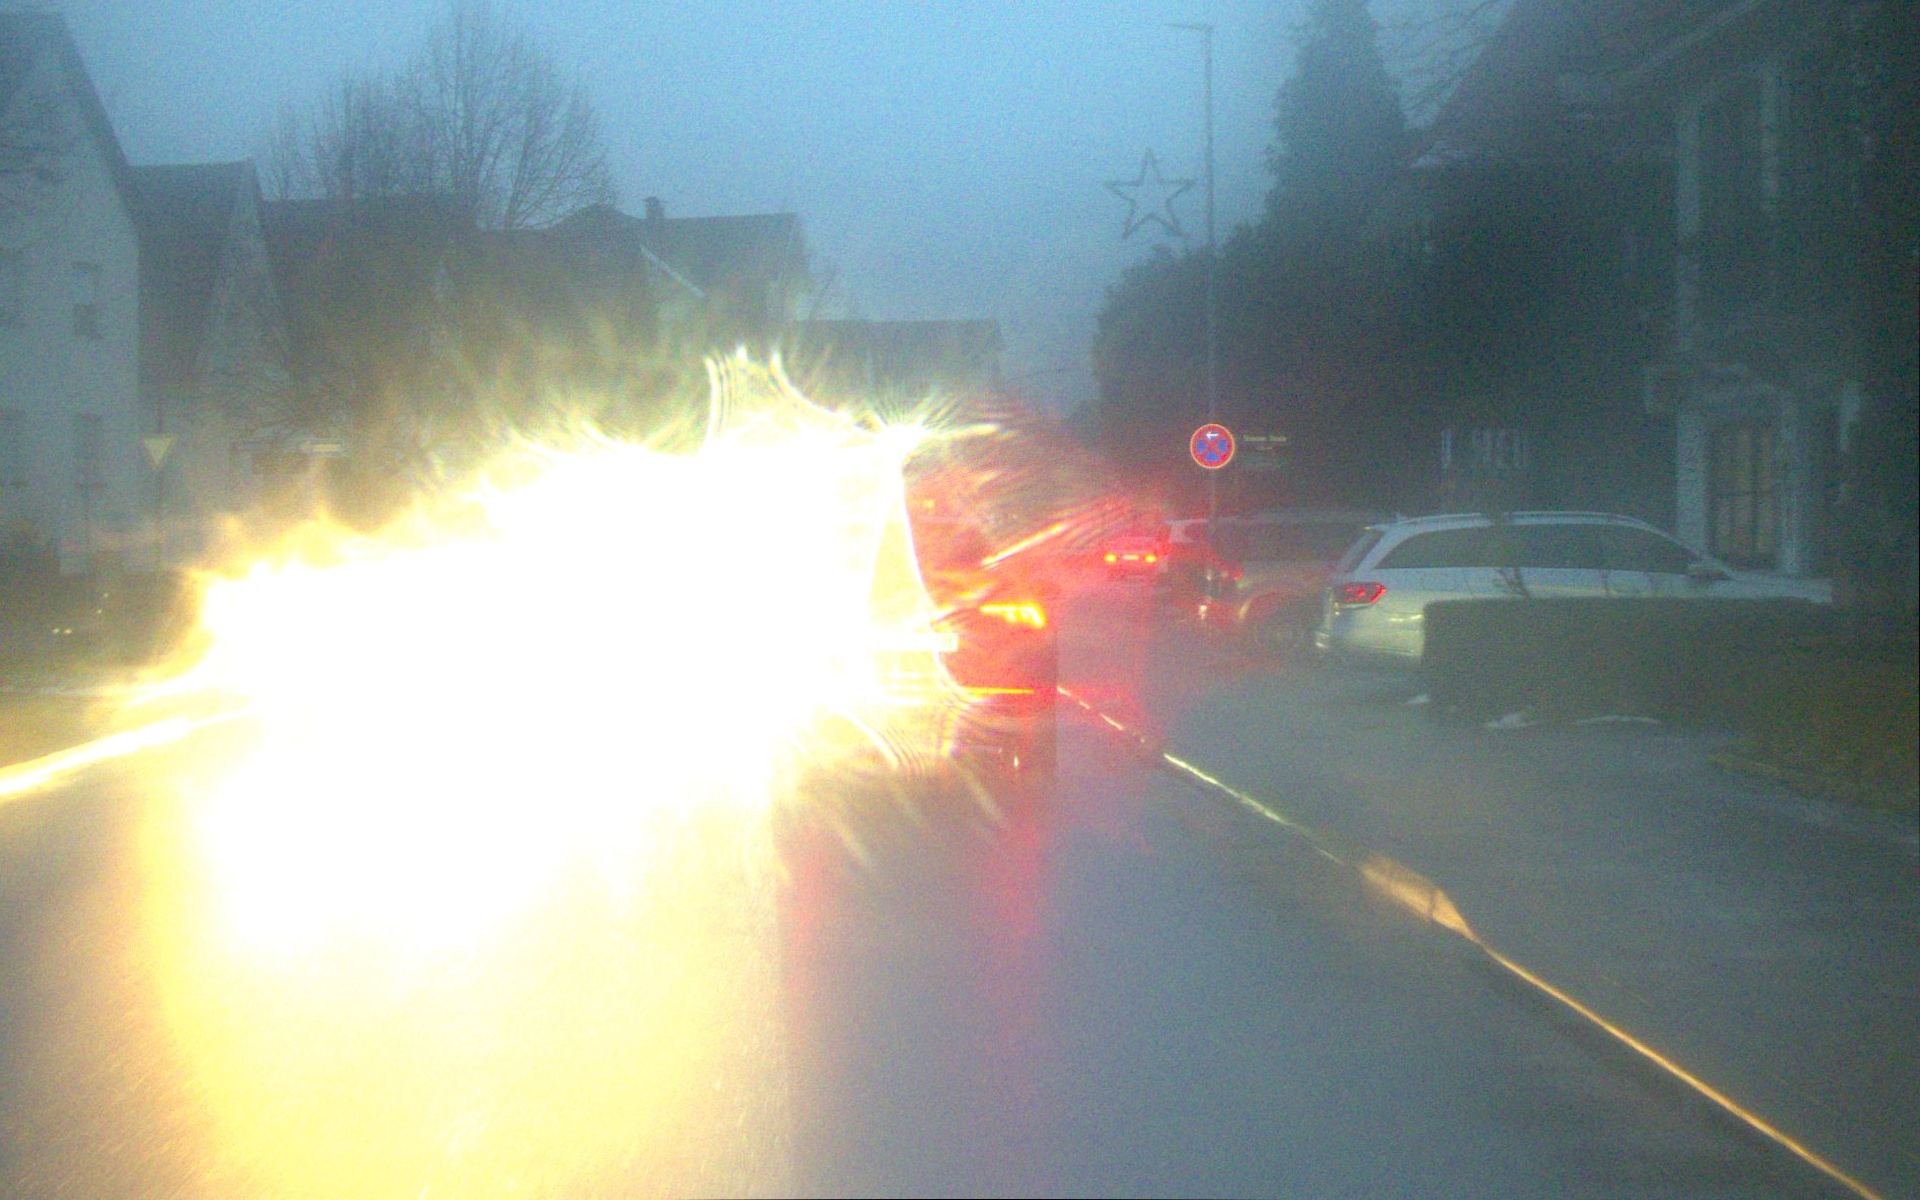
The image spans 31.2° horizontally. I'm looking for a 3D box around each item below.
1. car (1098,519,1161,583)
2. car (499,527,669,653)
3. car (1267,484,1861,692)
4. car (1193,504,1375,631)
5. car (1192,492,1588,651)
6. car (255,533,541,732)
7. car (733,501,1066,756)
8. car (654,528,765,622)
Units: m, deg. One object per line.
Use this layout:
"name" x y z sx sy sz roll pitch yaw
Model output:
"car" 5.599 -1.629 113.225 1.994 2.007 4.000 -1 1 4
"car" -4.643 -0.158 42.966 1.704 1.436 4.425 -2 1 -1
"car" 4.975 -0.119 28.865 4.734 1.624 1.907 -1 1 5
"car" 4.122 -0.451 44.379 1.893 1.549 4.756 0 1 0
"car" 4.701 -0.313 38.041 4.101 1.700 2.000 0 0 -1
"car" -4.457 0.204 27.768 1.704 1.436 4.000 -2 1 -1
"car" -0.417 0.125 22.685 1.993 1.520 4.001 0 1 -2
"car" -4.660 -0.499 64.372 1.814 1.627 4.225 -2 1 -1
